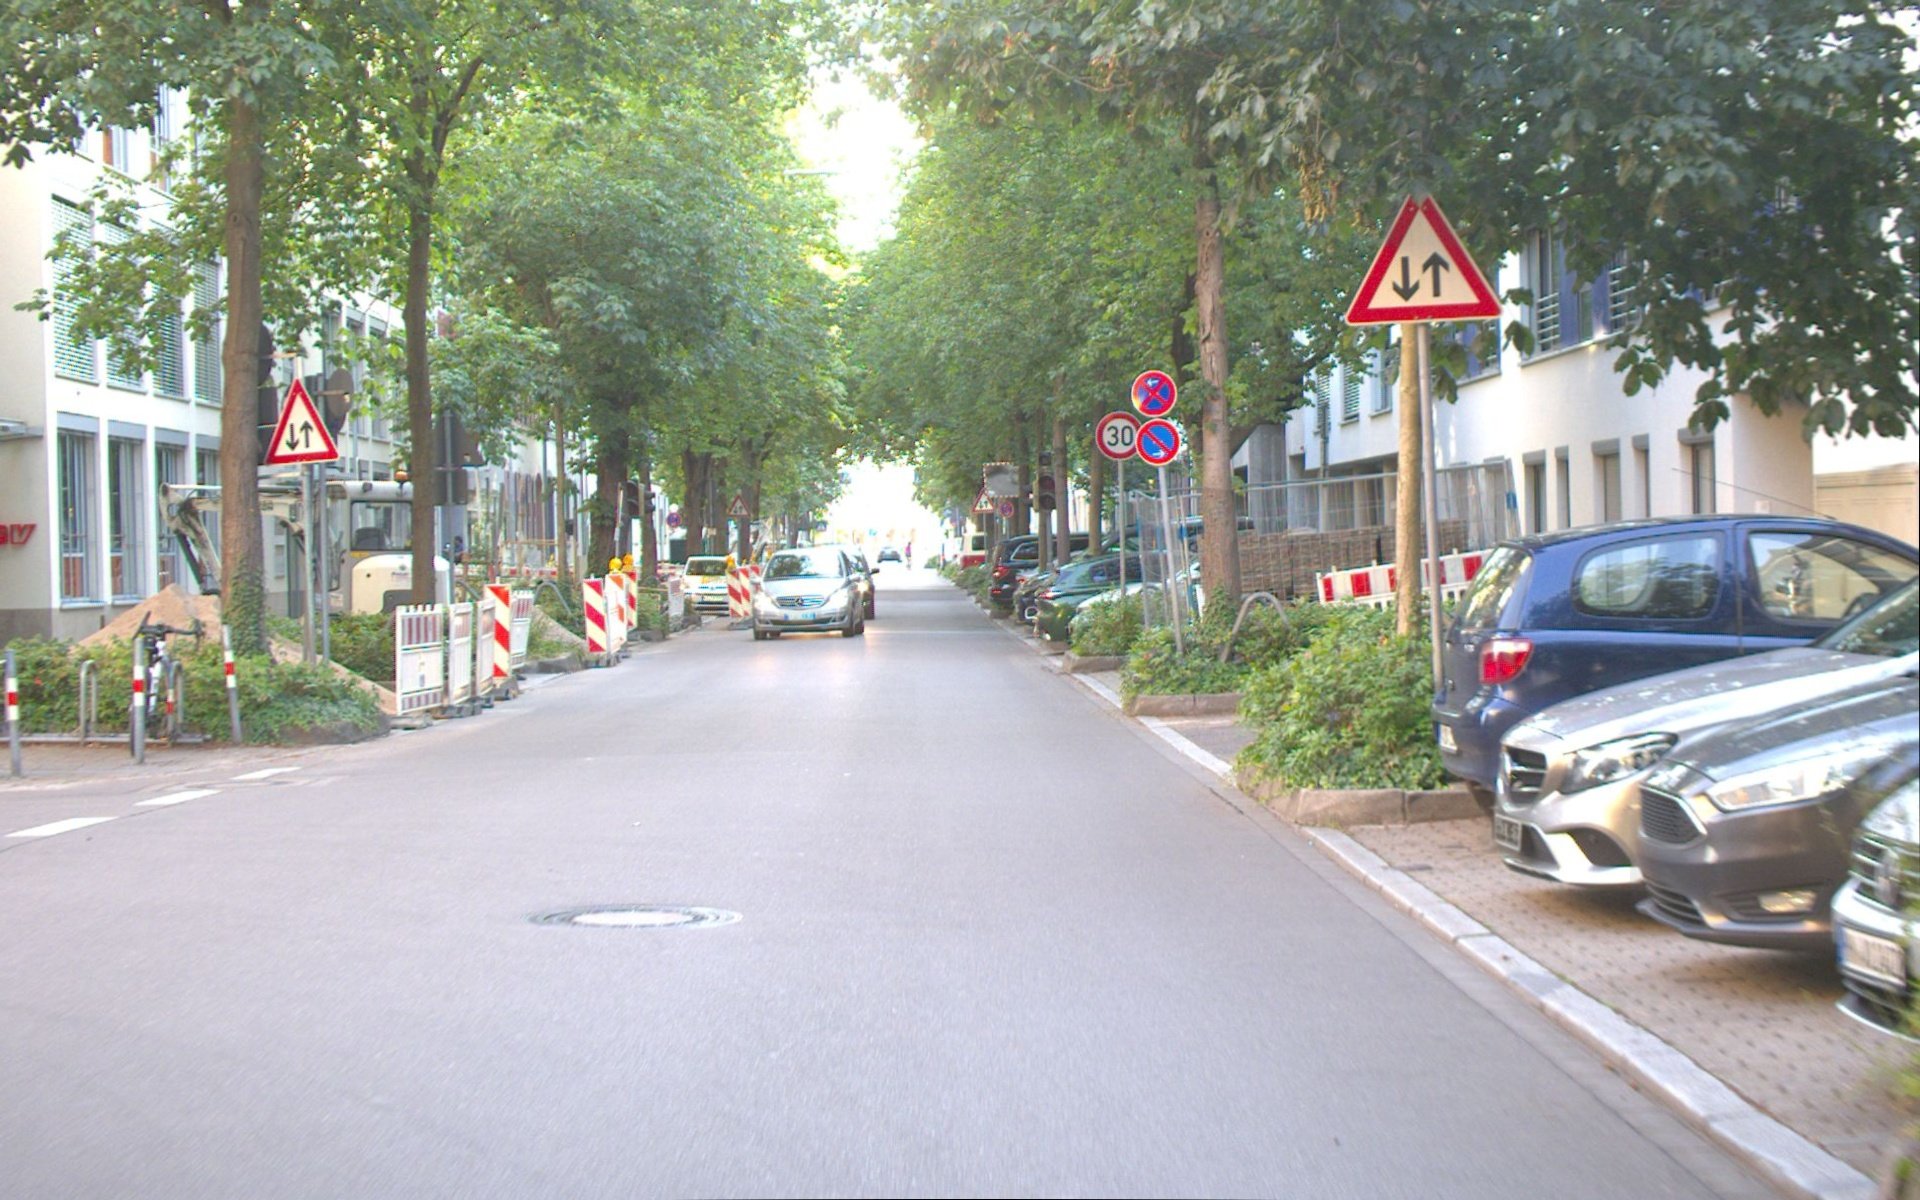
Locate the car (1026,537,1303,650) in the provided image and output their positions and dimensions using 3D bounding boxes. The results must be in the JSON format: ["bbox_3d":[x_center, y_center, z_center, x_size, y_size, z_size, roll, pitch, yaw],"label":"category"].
[{"bbox_3d":[2.978,-0.107,50.752,3.987,1.579,2.000,-1,1,1],"label":"car"}]

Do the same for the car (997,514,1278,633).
[{"bbox_3d":[3.050,-0.474,59.766,4.738,2.007,2.000,0,1,-1],"label":"car"}]

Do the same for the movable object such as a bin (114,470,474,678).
[{"bbox_3d":[-8.036,-0.351,41.913,4.045,2.375,2.785,-1,1,-6],"label":"movable object such as a bin"}]

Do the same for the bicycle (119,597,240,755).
[{"bbox_3d":[-6.203,0.584,27.409,0.683,1.148,1.981,-1,1,-6],"label":"bicycle"}]

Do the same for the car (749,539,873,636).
[{"bbox_3d":[-2.695,-0.261,61.508,2.009,1.607,4.120,-1,1,-5],"label":"car"}]

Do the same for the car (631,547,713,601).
[{"bbox_3d":[-7.270,-0.675,86.665,1.993,1.284,4.001,-1,1,-5],"label":"car"}]

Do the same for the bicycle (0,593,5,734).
[{"bbox_3d":[-8.238,0.553,27.370,0.683,1.148,1.981,-1,1,0],"label":"bicycle"}]

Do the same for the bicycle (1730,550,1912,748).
[{"bbox_3d":[5.688,0.302,22.811,0.828,1.231,1.803,-1,1,3],"label":"bicycle"}]

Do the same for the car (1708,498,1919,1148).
[{"bbox_3d":[4.471,0.431,8.773,4.621,1.497,1.962,-2,1,-2],"label":"car"}]

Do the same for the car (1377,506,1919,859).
[{"bbox_3d":[3.894,0.347,16.425,3.538,1.558,1.832,-1,1,-1],"label":"car"}]

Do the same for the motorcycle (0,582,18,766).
[{"bbox_3d":[-7.849,0.547,23.703,2.350,1.277,1.067,-2,2,-41],"label":"motorcycle"}]

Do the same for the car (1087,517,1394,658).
[{"bbox_3d":[3.733,-0.183,46.178,3.987,1.798,2.000,-1,1,3],"label":"car"}]

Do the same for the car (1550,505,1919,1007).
[{"bbox_3d":[4.511,0.438,11.376,4.782,1.515,1.991,0,1,1],"label":"car"}]

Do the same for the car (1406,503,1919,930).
[{"bbox_3d":[4.247,0.401,13.768,4.621,1.566,2.011,-1,1,-1],"label":"car"}]

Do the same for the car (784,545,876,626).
[{"bbox_3d":[-2.849,-0.356,76.112,1.949,1.708,4.703,-1,1,-1],"label":"car"}]
